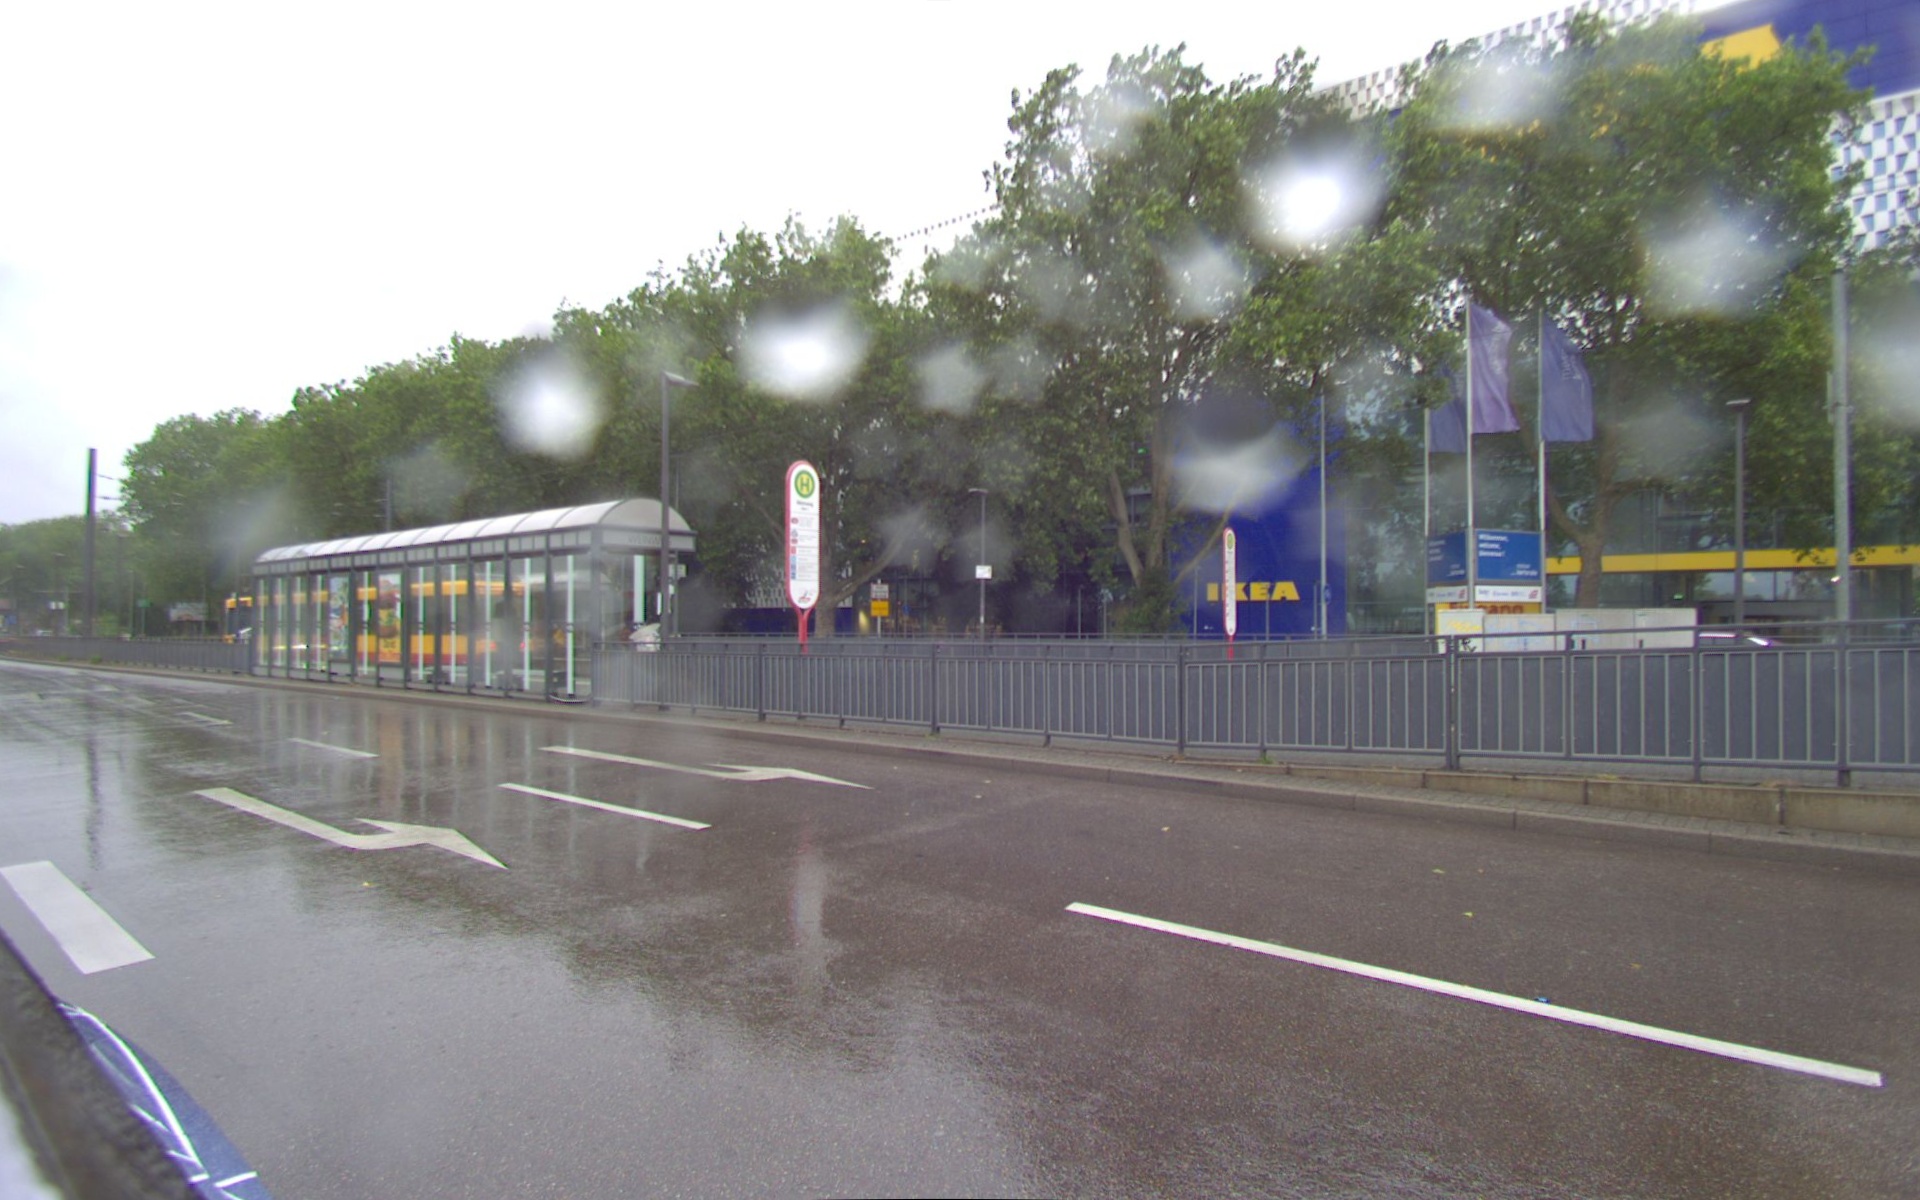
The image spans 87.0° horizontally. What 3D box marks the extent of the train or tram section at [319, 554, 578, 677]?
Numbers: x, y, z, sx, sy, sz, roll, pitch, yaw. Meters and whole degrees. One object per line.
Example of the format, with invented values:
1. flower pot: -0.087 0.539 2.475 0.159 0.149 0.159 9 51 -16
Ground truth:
1. train or tram section: -19.330 0.543 37.501 13.245 3.868 3.703 -1 0 40

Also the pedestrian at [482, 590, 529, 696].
1. pedestrian: -8.322 0.762 18.508 0.646 1.885 0.774 -1 0 -33

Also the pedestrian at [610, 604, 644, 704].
1. pedestrian: -5.140 0.822 15.627 0.317 1.504 0.416 -2 1 -44

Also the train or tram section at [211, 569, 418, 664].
1. train or tram section: -30.285 0.742 46.895 15.560 3.827 3.703 -1 0 40
